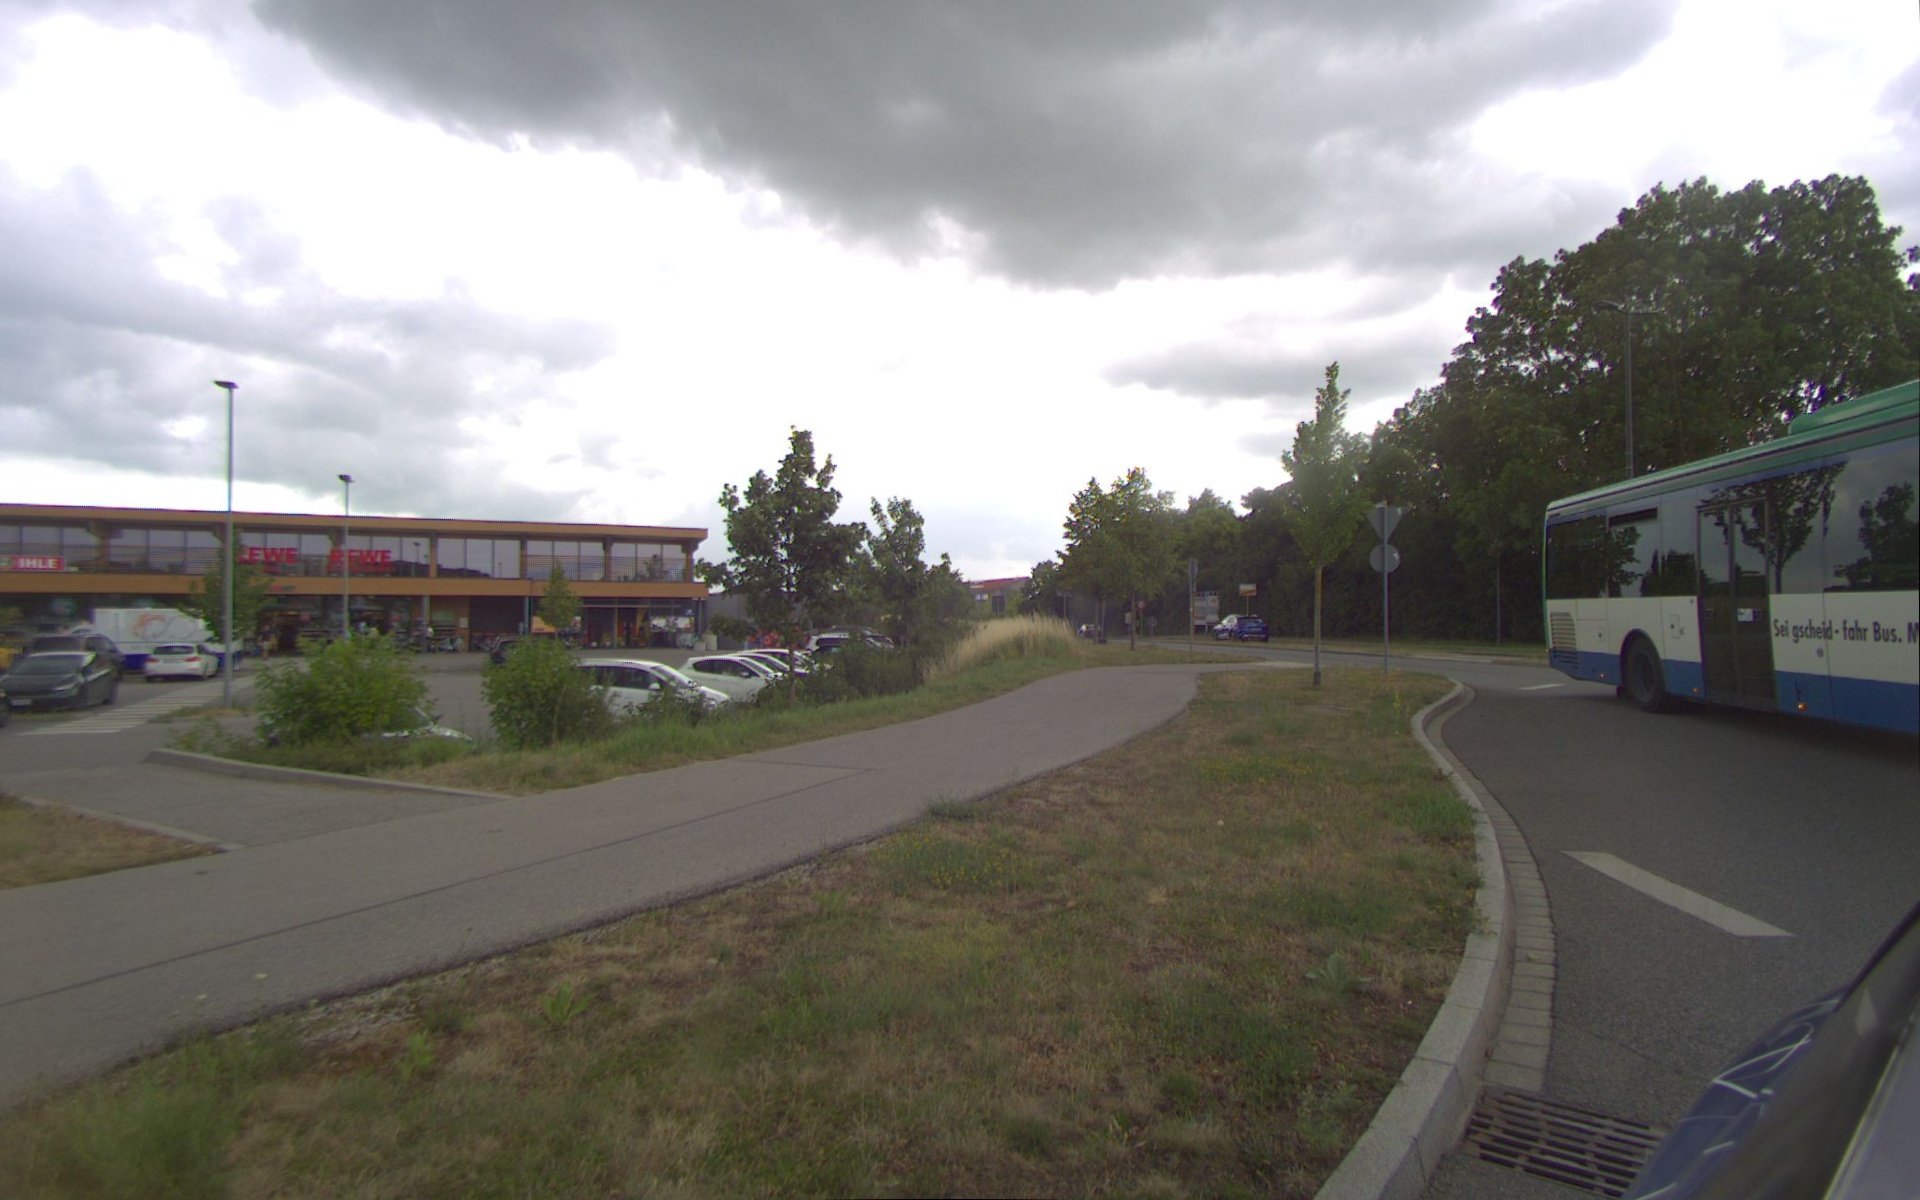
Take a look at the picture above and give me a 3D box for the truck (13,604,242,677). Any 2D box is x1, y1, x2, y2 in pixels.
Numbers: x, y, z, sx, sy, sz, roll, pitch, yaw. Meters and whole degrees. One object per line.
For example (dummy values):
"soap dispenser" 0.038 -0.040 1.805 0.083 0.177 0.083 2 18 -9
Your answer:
"truck" -35.270 1.631 43.317 7.111 2.843 2.979 0 -1 -29

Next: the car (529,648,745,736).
"car" -7.357 2.071 23.295 4.363 1.694 1.799 2 0 3

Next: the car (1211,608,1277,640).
"car" 14.278 1.251 51.083 1.727 1.449 4.085 -1 -3 -6

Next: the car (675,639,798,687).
"car" -6.973 1.953 31.829 3.602 1.311 1.718 -1 0 -6

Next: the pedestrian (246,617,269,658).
"pedestrian" -35.709 1.909 51.449 0.913 2.039 0.806 0 -1 -30

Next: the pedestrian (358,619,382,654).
"pedestrian" -33.130 2.075 56.847 0.788 1.923 0.917 -4 -4 33

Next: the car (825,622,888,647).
"car" -6.625 2.187 64.698 3.918 1.462 1.886 -1 -1 -8

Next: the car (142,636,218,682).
"car" -29.576 2.190 38.467 1.697 1.549 4.004 0 -1 -29

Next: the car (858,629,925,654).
"car" -4.167 2.521 61.691 3.823 1.483 1.694 -1 -1 7

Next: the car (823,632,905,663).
"car" -4.804 2.384 50.848 3.823 1.483 1.694 -1 -1 7

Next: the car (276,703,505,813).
"car" -9.292 2.478 16.461 3.698 1.390 1.565 -2 -1 29

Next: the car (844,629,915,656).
"car" -4.567 2.407 57.764 3.823 1.483 1.694 -1 -1 7

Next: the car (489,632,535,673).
"car" -19.119 2.194 43.108 1.680 1.588 3.675 0 -1 -26

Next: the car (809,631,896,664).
"car" -5.031 2.245 47.741 3.823 1.483 1.694 -1 -1 7

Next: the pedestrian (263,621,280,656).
"pedestrian" -38.858 2.160 57.138 0.570 1.974 0.523 -1 -1 12

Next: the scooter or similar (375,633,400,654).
"scooter or similar" -32.608 2.474 57.633 0.788 1.141 0.991 -4 -4 33

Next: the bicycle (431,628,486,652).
"bicycle" -28.749 2.289 58.040 2.810 1.326 0.981 0 -1 -25

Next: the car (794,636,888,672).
"car" -5.156 2.348 44.070 3.823 1.483 1.694 -1 -1 7

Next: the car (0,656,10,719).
"car" -21.851 1.987 21.254 1.799 1.416 4.004 0 0 -28

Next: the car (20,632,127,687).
"car" -32.198 2.100 36.892 1.814 1.747 4.126 -2 0 -25

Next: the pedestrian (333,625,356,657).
"pedestrian" -32.934 2.165 54.149 0.790 1.678 0.749 0 -1 3

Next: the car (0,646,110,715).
"car" -24.247 2.087 26.952 1.697 1.573 4.004 0 -1 -29

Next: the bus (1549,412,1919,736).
"bus" 9.974 -0.319 13.081 2.486 3.299 5.442 0 1 12

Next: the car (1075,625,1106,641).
"car" 11.338 2.854 88.266 1.794 1.324 4.118 1 -1 -5

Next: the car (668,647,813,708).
"car" -6.359 2.228 29.696 3.920 1.527 2.002 -1 0 -5

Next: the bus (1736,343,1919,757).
"bus" 8.747 -0.386 7.229 2.486 3.299 6.526 0 1 12

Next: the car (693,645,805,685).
"car" -7.400 2.274 35.648 3.613 1.311 1.413 0 -1 7

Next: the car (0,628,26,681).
"car" -35.286 1.966 36.078 1.736 1.878 4.006 -1 -1 -24

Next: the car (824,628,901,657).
"car" -5.192 2.275 54.058 3.823 1.483 1.694 -1 -1 7
